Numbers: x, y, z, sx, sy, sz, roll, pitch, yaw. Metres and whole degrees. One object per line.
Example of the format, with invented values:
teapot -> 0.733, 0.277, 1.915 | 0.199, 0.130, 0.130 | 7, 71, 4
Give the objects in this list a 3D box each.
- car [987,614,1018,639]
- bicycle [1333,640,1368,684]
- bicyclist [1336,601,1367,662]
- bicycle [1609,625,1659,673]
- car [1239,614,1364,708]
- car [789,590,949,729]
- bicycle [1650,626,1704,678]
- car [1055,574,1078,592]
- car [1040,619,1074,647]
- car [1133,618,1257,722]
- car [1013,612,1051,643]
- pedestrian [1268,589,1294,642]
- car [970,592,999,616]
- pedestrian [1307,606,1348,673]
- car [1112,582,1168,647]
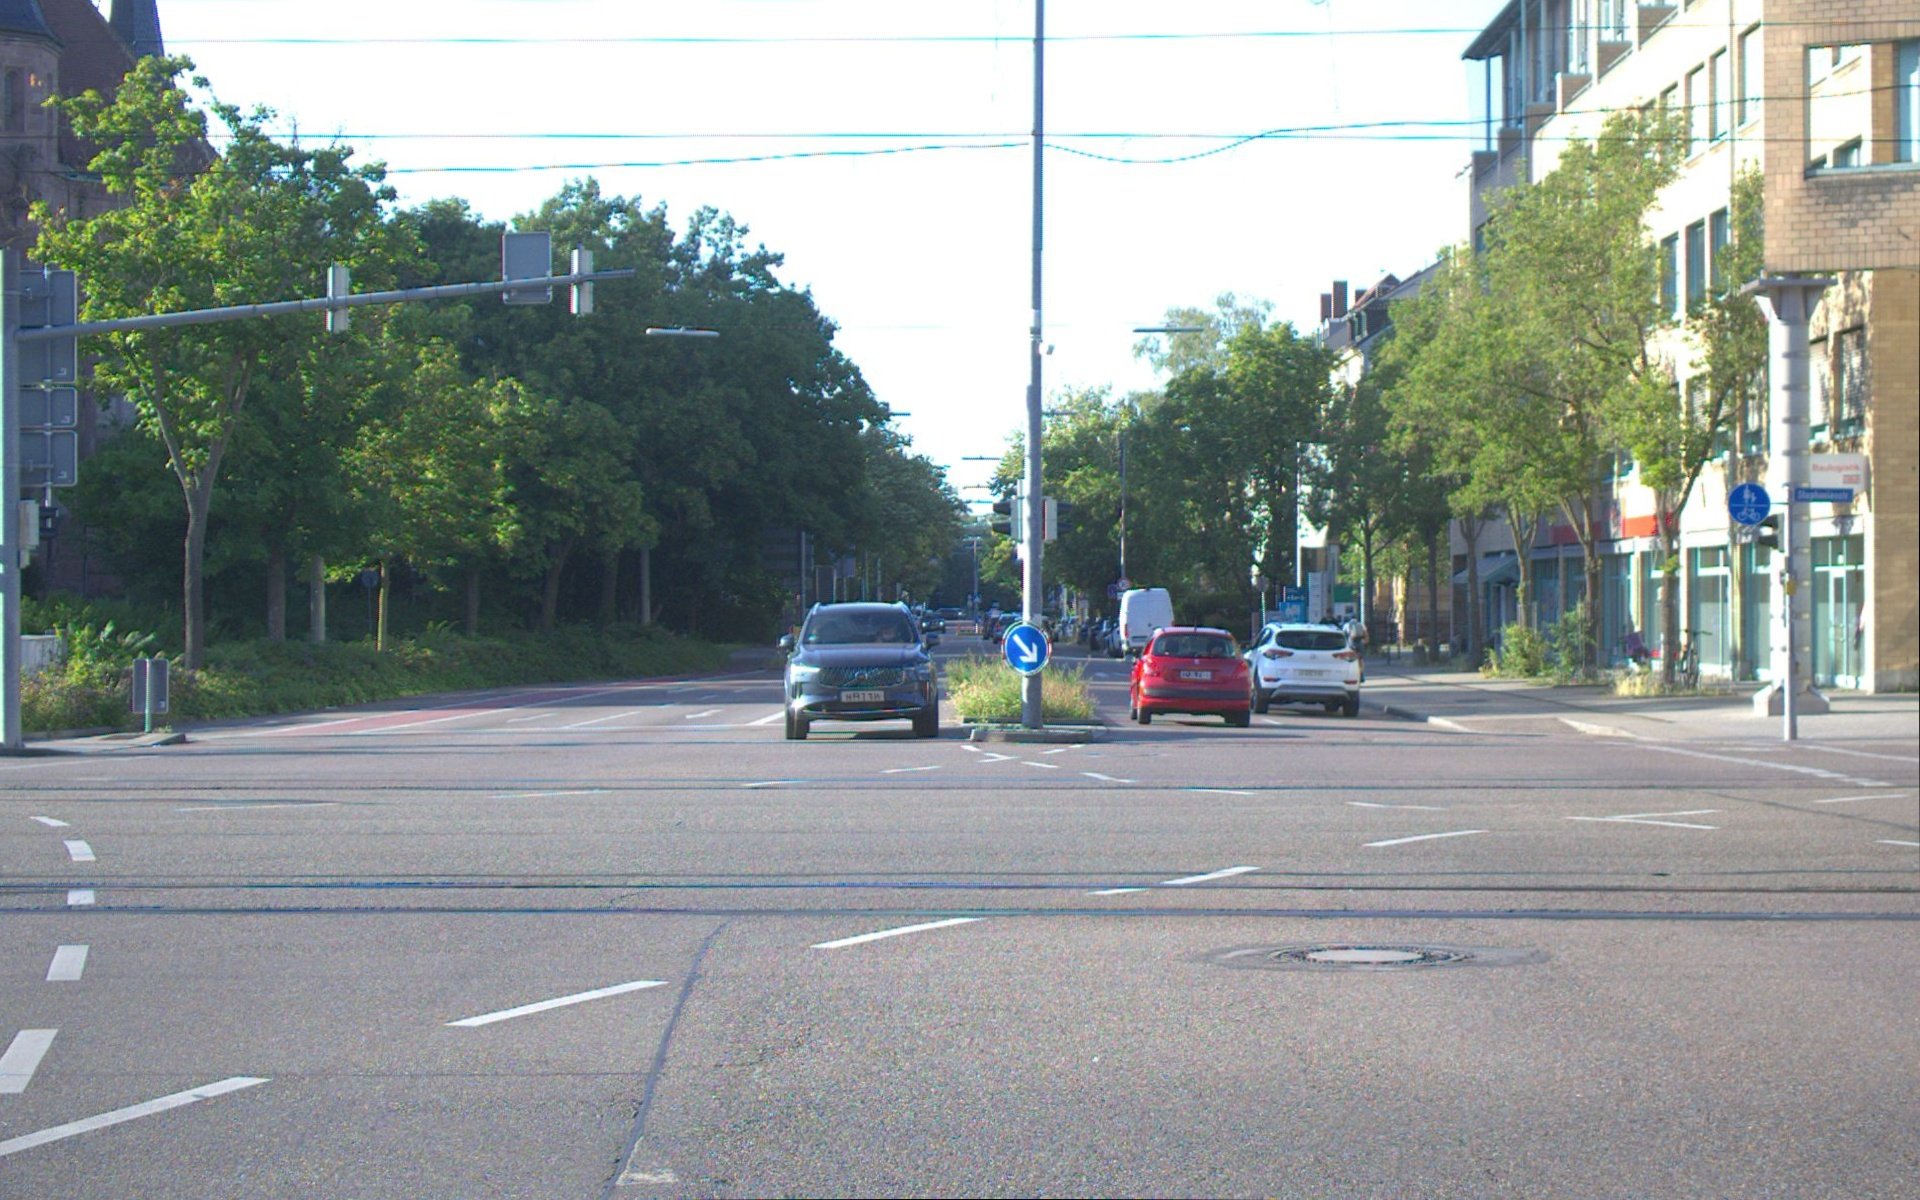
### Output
car -> 2.235, 1.402, 180.063 | 1.595, 1.263, 3.266 | 0, 0, 1
bicycle -> 8.911, 1.409, 78.503 | 0.592, 0.940, 1.978 | 2, 1, 1
bicyclist -> 8.929, 0.715, 78.481 | 0.592, 1.364, 0.930 | 2, 1, 1
bicycle -> 14.138, 1.020, 72.121 | 0.646, 0.991, 2.081 | 0, 0, 0
car -> 6.203, 1.083, 62.843 | 1.916, 1.602, 4.269 | 1, 0, 1
car -> -1.255, 0.776, 45.239 | 1.993, 1.718, 5.031 | 0, -1, -3
bicycle -> 14.084, 1.023, 67.543 | 0.646, 0.991, 2.081 | 0, 0, 0
car -> 7.528, -1.239, 243.122 | 1.595, 1.263, 3.266 | 0, 0, 1
car -> 4.595, 1.546, 162.509 | 1.595, 1.263, 3.266 | 0, 0, 1
car -> 3.553, 1.036, 52.448 | 1.670, 1.457, 4.000 | 1, 0, 1
car -> 3.135, 1.186, 149.329 | 1.595, 1.263, 3.266 | 0, 0, 1
pedestrian -> 11.032, 0.531, 118.208 | 0.847, 1.797, 0.775 | 0, 0, 1
car -> 1.732, 0.282, 238.885 | 1.886, 1.665, 4.000 | 1, 0, 1
pedestrian -> 10.830, 1.165, 101.420 | 1.107, 1.969, 1.161 | 0, 0, 1
car -> 6.902, 0.557, 132.031 | 1.993, 2.432, 4.000 | 1, 0, 1
